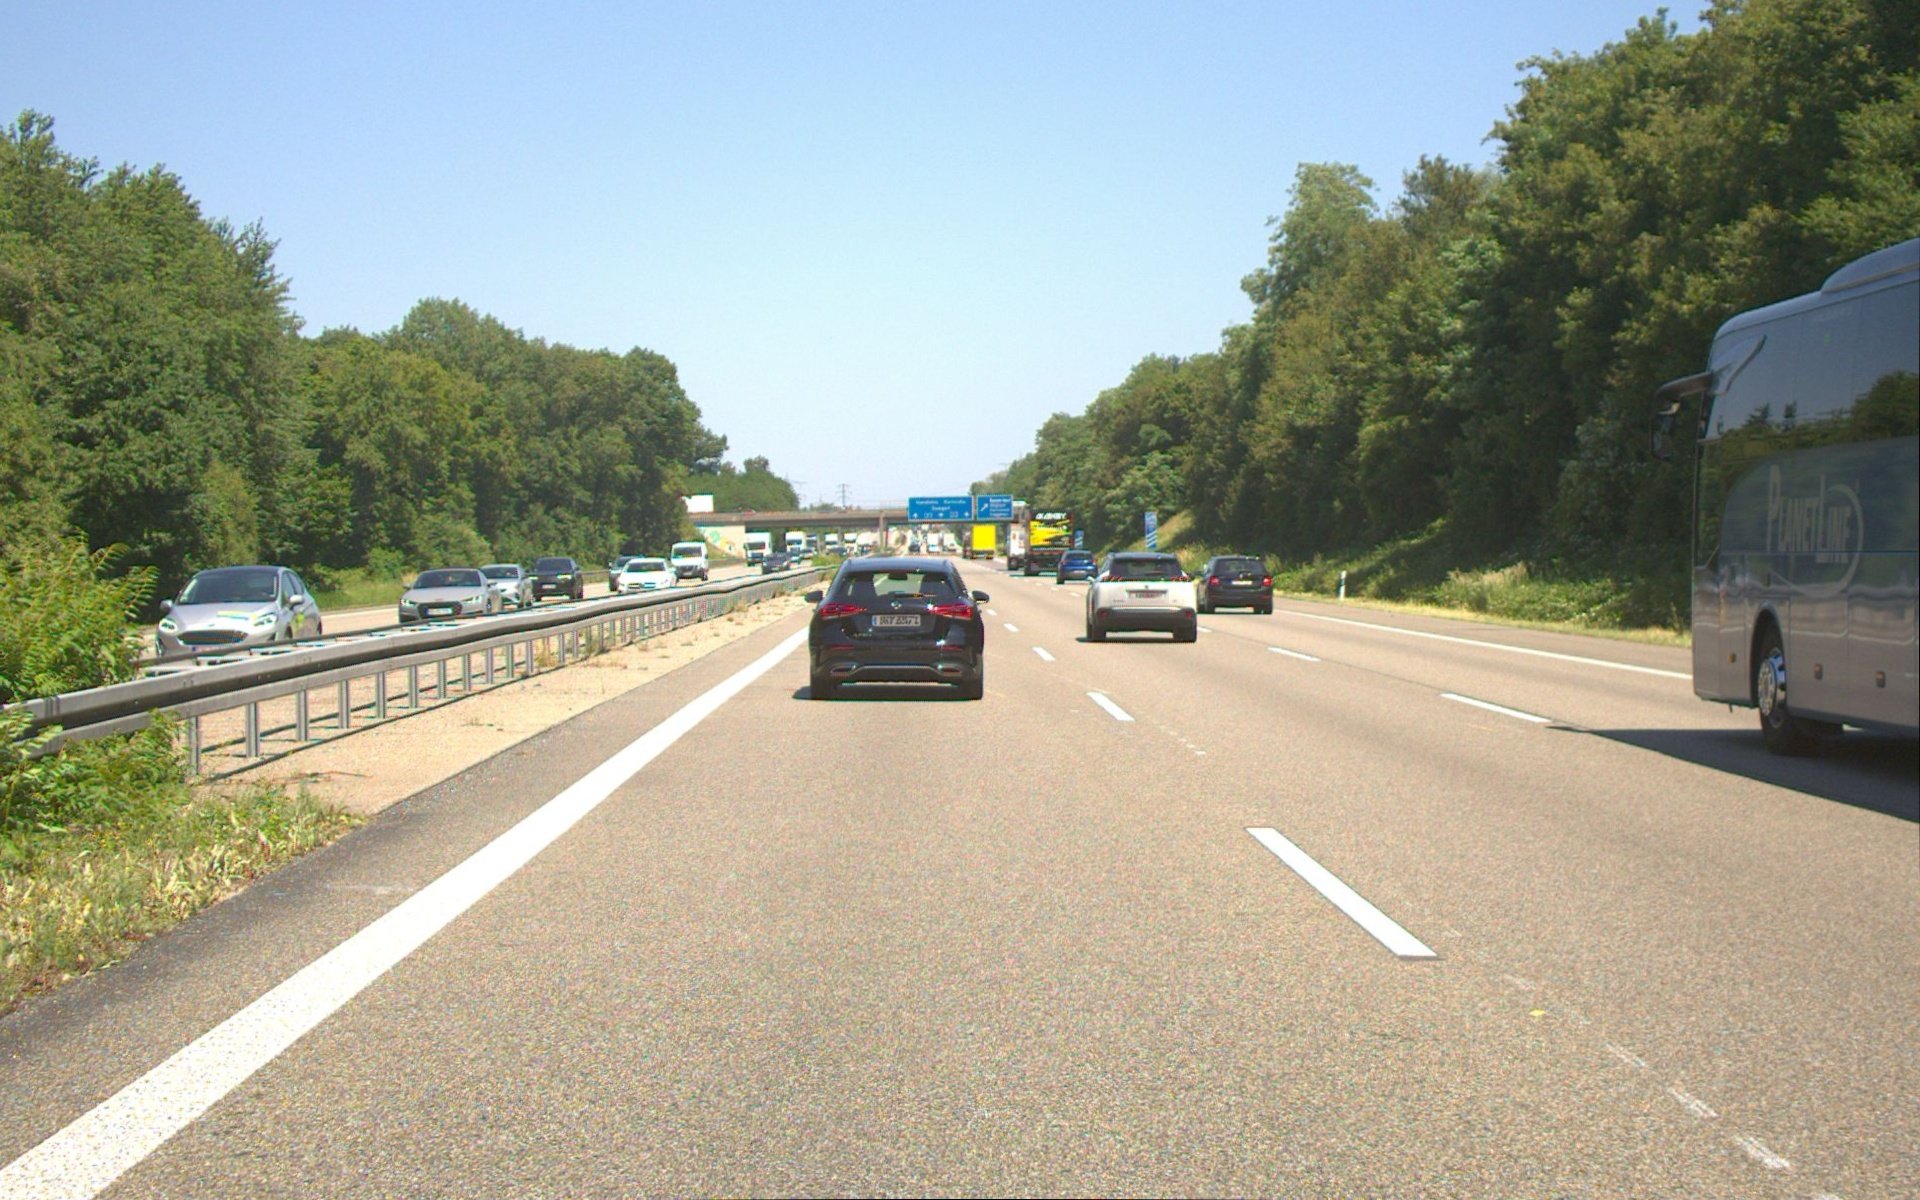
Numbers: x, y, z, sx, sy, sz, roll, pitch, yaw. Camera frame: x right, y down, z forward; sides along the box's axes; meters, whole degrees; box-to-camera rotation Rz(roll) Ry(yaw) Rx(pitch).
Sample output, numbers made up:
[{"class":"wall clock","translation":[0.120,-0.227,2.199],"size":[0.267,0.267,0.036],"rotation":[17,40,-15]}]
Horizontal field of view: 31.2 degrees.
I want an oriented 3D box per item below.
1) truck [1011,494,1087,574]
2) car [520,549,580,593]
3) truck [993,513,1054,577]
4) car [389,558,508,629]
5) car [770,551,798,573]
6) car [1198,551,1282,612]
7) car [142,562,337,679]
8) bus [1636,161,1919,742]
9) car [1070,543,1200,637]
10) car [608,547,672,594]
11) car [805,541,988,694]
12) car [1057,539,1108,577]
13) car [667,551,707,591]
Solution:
[{"class":"truck","translation":[5.316,-3.942,208.311],"size":[3.647,4.574,15.768],"rotation":[1,1,-2]},{"class":"car","translation":[-15.687,-1.127,131.689],"size":[1.820,1.625,4.798],"rotation":[-1,1,-2]},{"class":"truck","translation":[4.693,-4.079,257.920],"size":[3.647,4.574,17.249],"rotation":[1,1,-2]},{"class":"car","translation":[-10.632,-0.157,71.708],"size":[1.838,1.378,4.428],"rotation":[-2,1,-1]},{"class":"car","translation":[-12.043,-2.617,235.741],"size":[1.805,1.475,4.568],"rotation":[-1,1,-2]},{"class":"car","translation":[7.022,-0.486,86.498],"size":[1.789,1.456,3.949],"rotation":[0,1,0]},{"class":"car","translation":[-9.756,0.243,46.860],"size":[1.848,1.445,4.208],"rotation":[-2,1,-2]},{"class":"bus","translation":[7.281,-0.936,22.799],"size":[2.802,3.584,12.475],"rotation":[0,1,-2]},{"class":"car","translation":[2.970,-0.200,59.168],"size":[1.899,1.527,4.242],"rotation":[0,1,-2]},{"class":"car","translation":[-10.829,-1.002,116.697],"size":[1.820,1.518,4.824],"rotation":[-1,1,-2]},{"class":"car","translation":[-0.693,0.139,36.215],"size":[1.799,1.496,4.242],"rotation":[0,1,-2]},{"class":"car","translation":[5.695,-1.969,160.241],"size":[2.076,1.745,4.242],"rotation":[-1,1,-2]},{"class":"car","translation":[-16.266,-1.755,205.047],"size":[2.087,2.280,5.277],"rotation":[-1,1,-2]}]
